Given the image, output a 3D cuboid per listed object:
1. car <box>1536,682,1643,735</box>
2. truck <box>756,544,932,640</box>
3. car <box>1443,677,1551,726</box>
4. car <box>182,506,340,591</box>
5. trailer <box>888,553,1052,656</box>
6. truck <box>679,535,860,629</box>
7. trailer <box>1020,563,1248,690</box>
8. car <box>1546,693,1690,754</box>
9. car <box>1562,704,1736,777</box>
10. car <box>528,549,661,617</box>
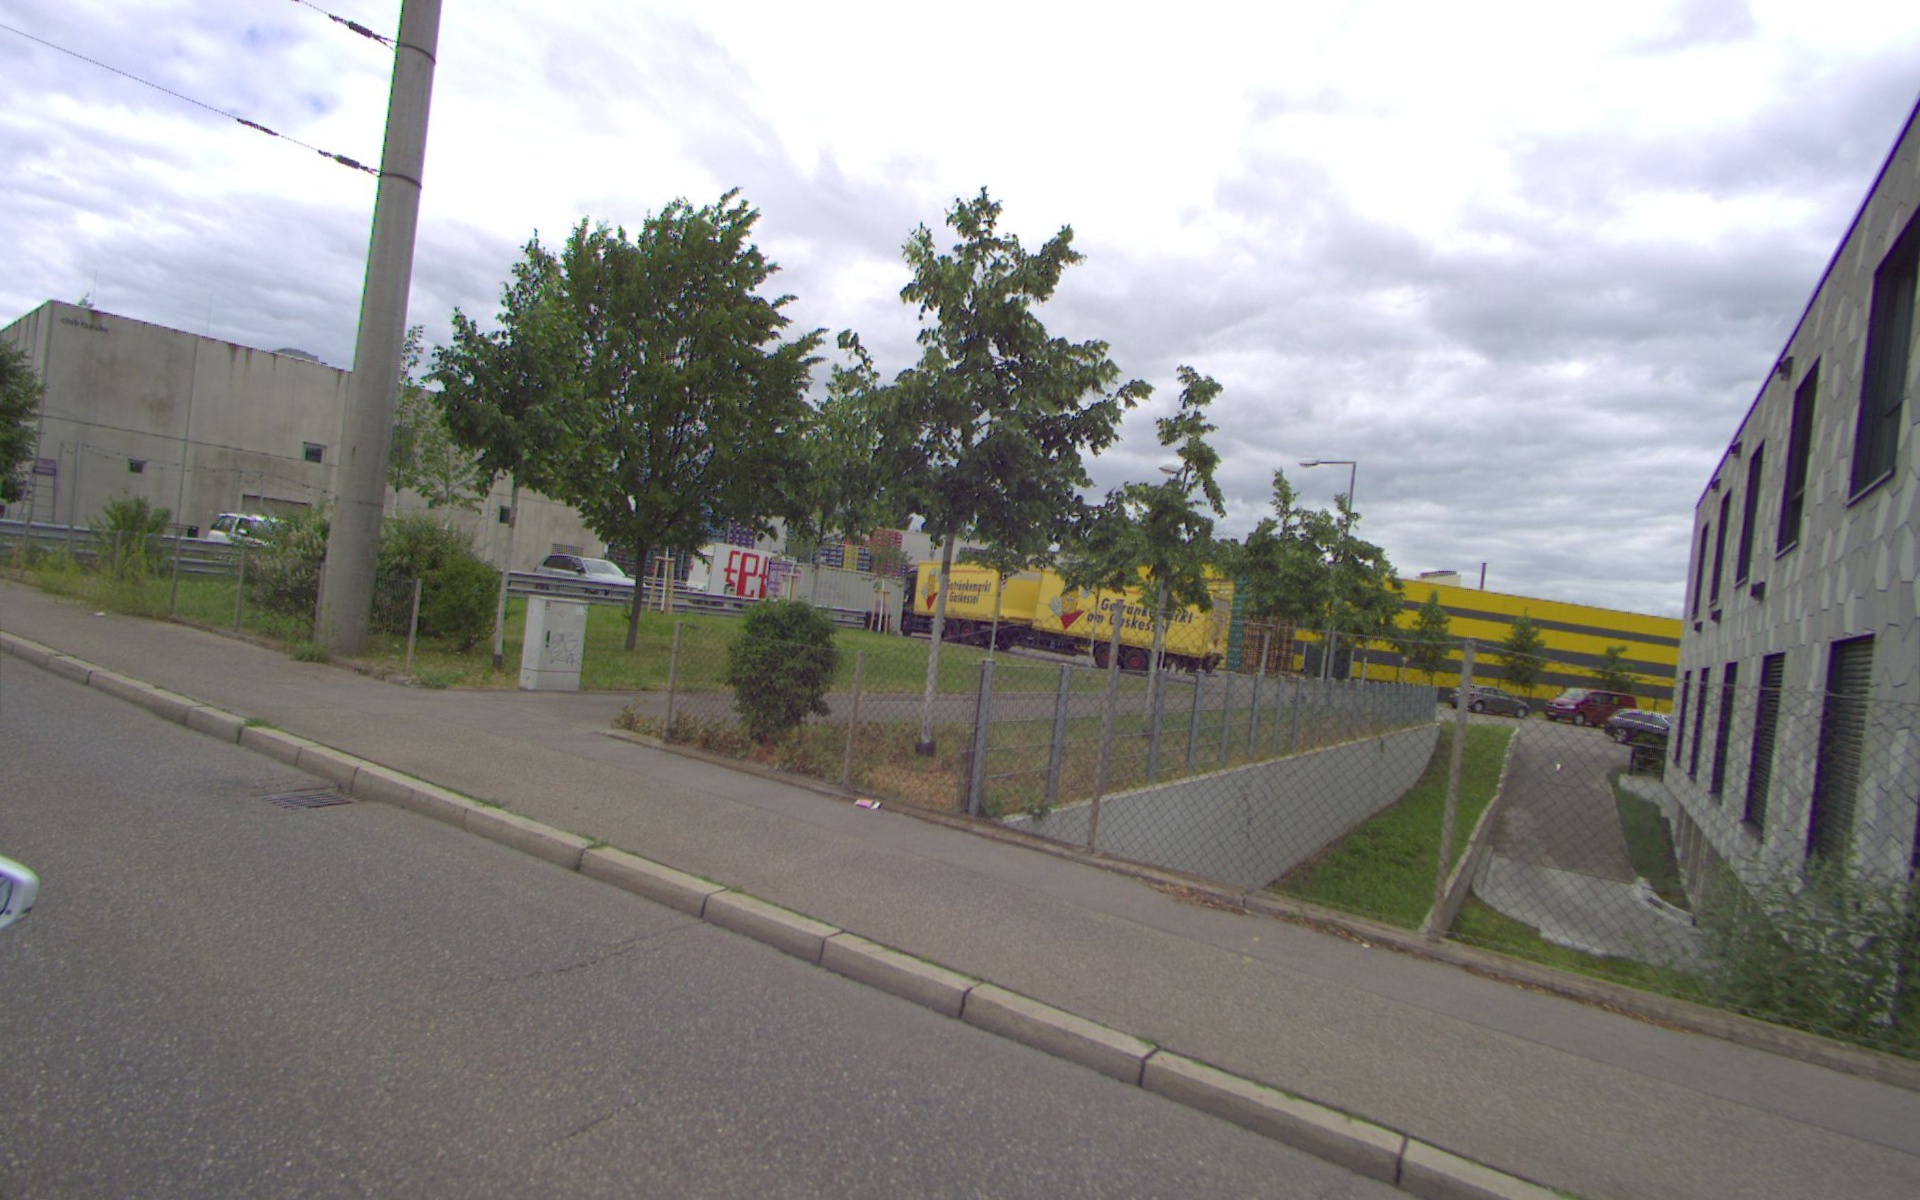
[{"bbox_3d":[33.271,5.711,53.259,4.298,2.144,2.001,8,-3,-3],"label":"car"},{"bbox_3d":[-5.007,-0.282,44.986,2.588,3.070,7.741,6,-4,42],"label":"truck"},{"bbox_3d":[27.439,5.161,51.497,4.298,1.713,1.998,8,1,-3],"label":"car"},{"bbox_3d":[-18.010,-1.356,25.869,4.359,1.592,1.752,7,-2,34],"label":"car"},{"bbox_3d":[0.178,0.048,48.535,2.887,4.012,9.945,7,0,-30],"label":"trailer"},{"bbox_3d":[-8.539,-0.739,45.950,7.721,3.070,2.325,11,-4,-40],"label":"truck"},{"bbox_3d":[7.224,1.050,42.436,8.551,4.123,2.943,8,1,32],"label":"trailer"},{"bbox_3d":[25.878,4.832,39.733,1.971,1.604,4.359,7,0,-18],"label":"car"},{"bbox_3d":[22.757,4.610,33.441,1.971,1.604,4.359,7,0,-18],"label":"car"},{"bbox_3d":[-12.446,-0.587,34.168,4.616,1.741,1.911,7,0,37],"label":"car"}]
